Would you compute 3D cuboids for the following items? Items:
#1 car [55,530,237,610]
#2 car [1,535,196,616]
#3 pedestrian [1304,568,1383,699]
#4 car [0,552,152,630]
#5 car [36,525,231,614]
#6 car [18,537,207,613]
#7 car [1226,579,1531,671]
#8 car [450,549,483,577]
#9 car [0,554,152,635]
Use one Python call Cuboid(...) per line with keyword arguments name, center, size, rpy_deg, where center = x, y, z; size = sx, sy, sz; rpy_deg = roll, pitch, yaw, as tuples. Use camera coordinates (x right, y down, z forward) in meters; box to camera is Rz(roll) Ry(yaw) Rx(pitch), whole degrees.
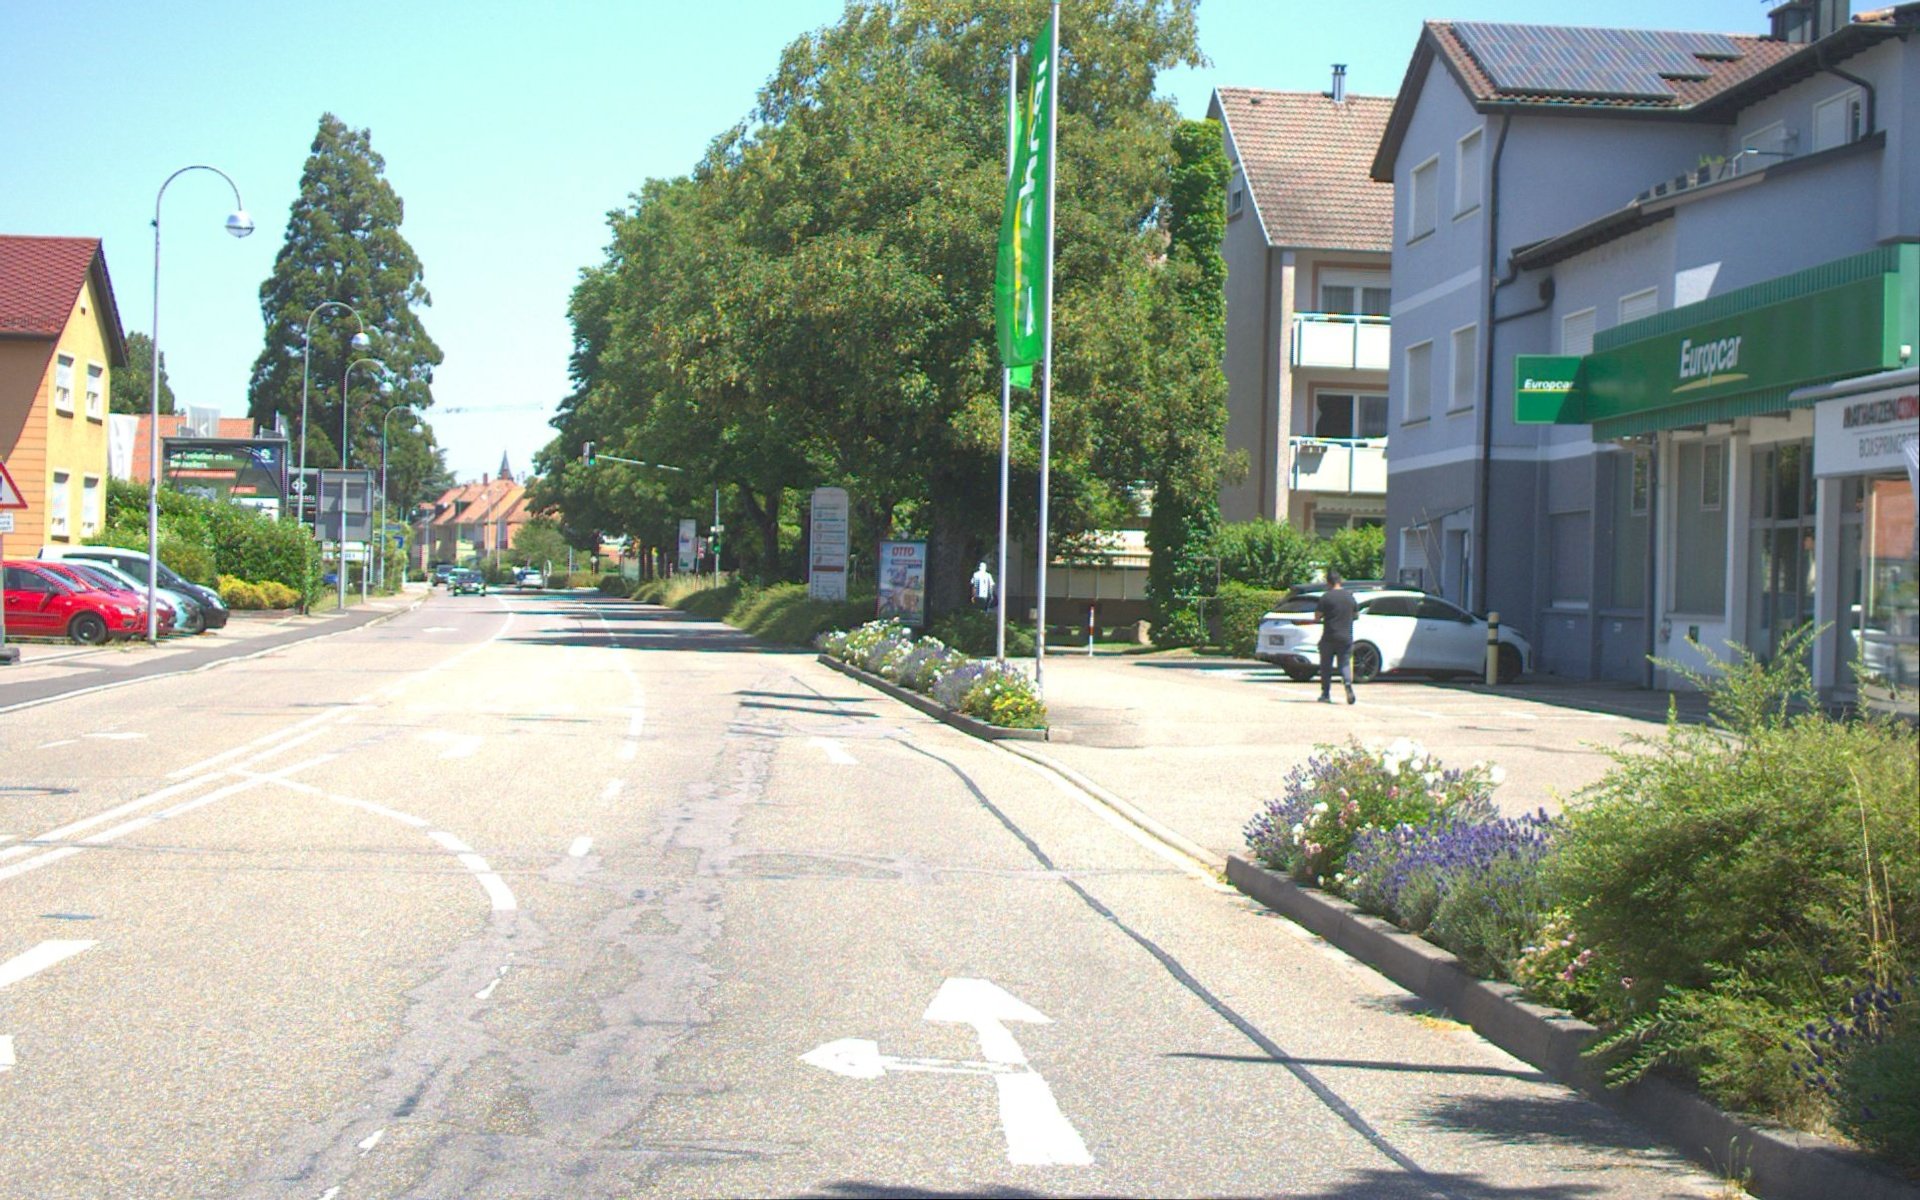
Cuboid(name="car", center=(-17.653, -0.649, 74.719), size=(3.663, 1.667, 1.923), rpy_deg=(1, 1, -8))
Cuboid(name="car", center=(-17.596, -0.499, 70.322), size=(3.663, 1.575, 1.923), rpy_deg=(1, 1, -8))
Cuboid(name="pedestrian", center=(4.848, 0.416, 43.529), size=(0.840, 1.635, 1.010), rpy_deg=(1, 0, -1))
Cuboid(name="car", center=(-17.441, -0.188, 65.841), size=(3.663, 1.452, 1.893), rpy_deg=(1, 1, -8))
Cuboid(name="car", center=(-18.410, -0.678, 76.747), size=(4.092, 1.891, 2.001), rpy_deg=(1, 1, -10))
Cuboid(name="car", center=(-17.814, -0.536, 72.420), size=(3.663, 1.526, 1.923), rpy_deg=(1, 1, -8))
Cuboid(name="car", center=(6.501, 0.388, 53.328), size=(4.343, 1.366, 1.956), rpy_deg=(1, 1, -28))
Cuboid(name="car", center=(-27.922, -2.108, 194.573), size=(1.709, 1.490, 4.279), rpy_deg=(1, 1, -7))
Cuboid(name="car", center=(-17.085, -0.123, 63.211), size=(4.125, 1.439, 1.827), rpy_deg=(1, 1, -6))
